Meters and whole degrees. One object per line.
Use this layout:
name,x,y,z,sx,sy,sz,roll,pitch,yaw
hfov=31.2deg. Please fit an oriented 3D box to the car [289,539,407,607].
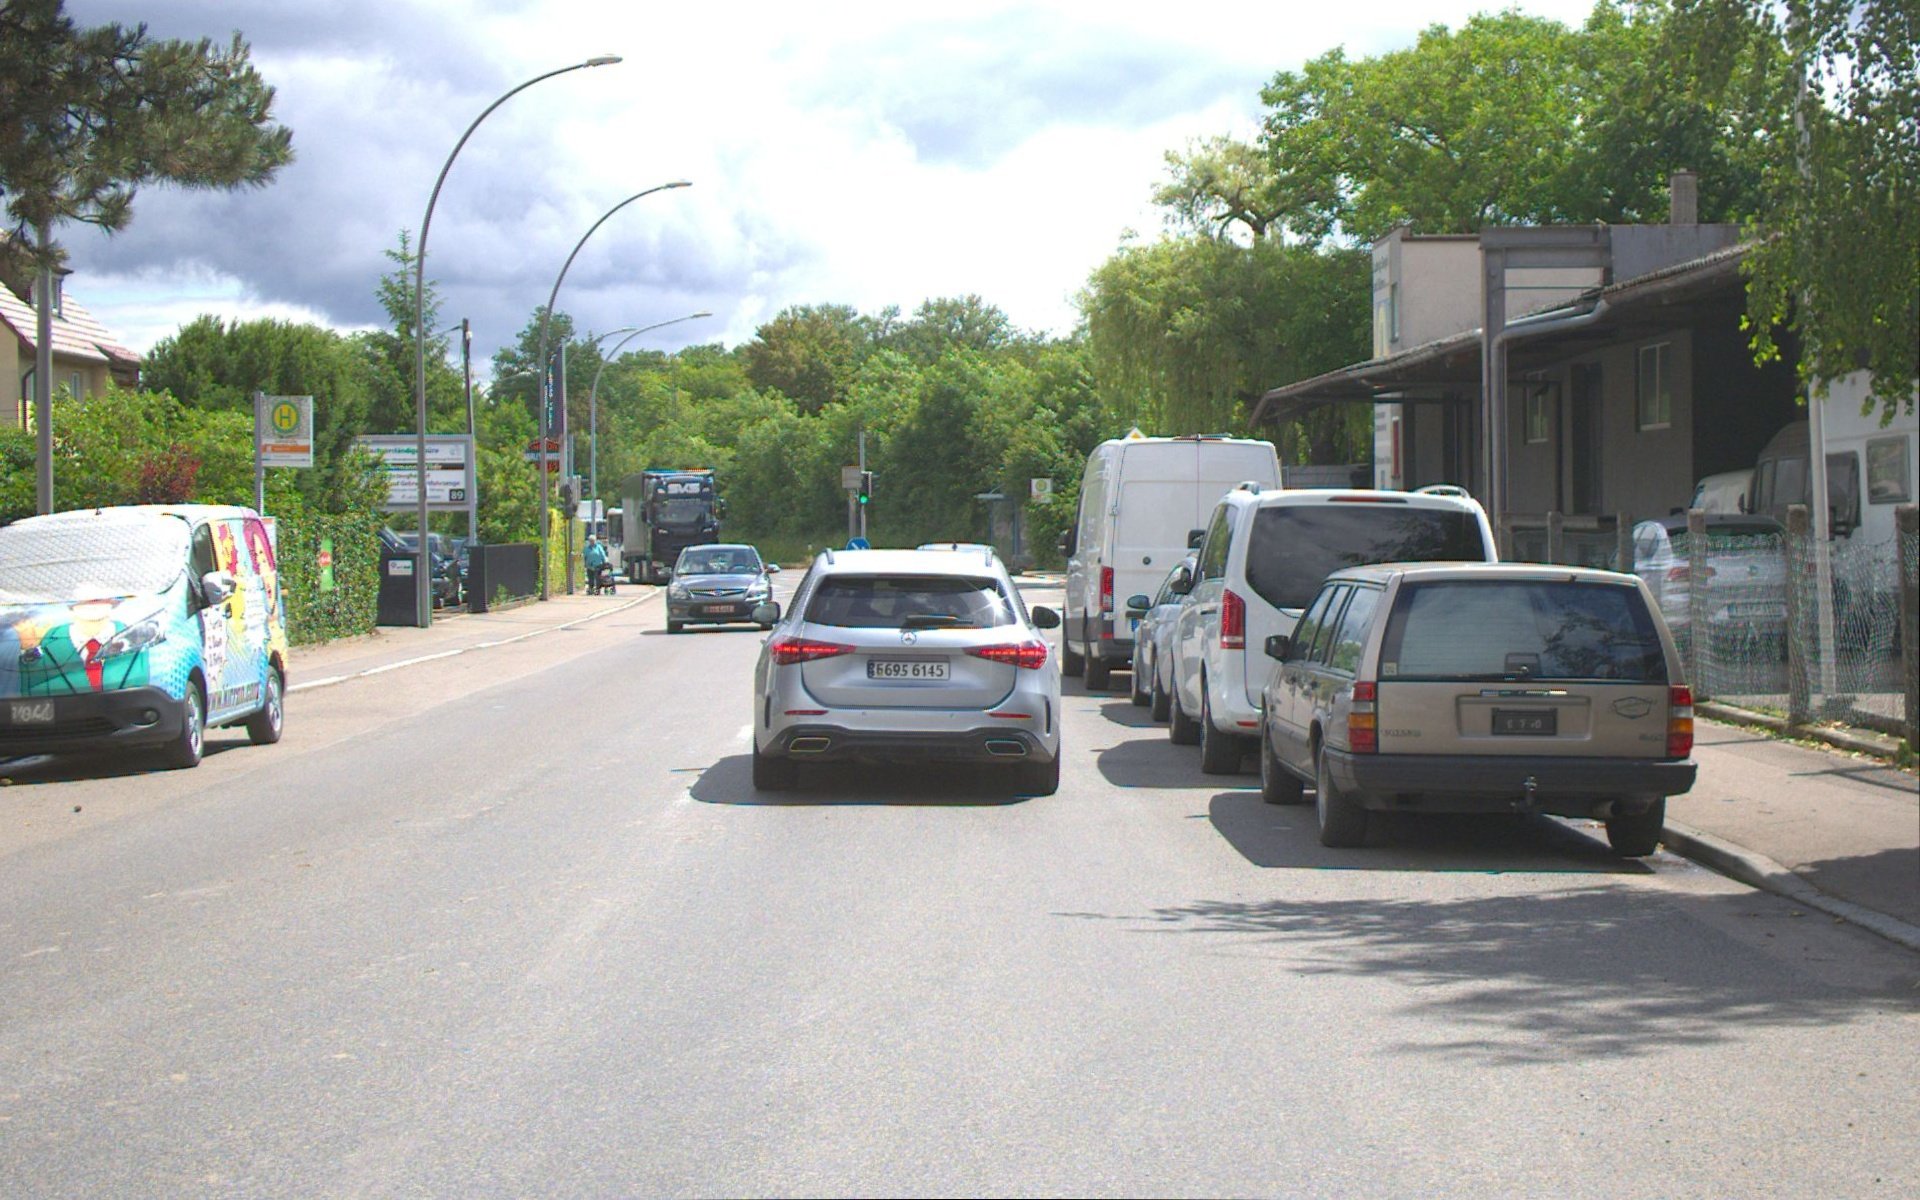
car,-14.070,-0.641,79.234,2.153,1.501,4.268,-1,1,-3

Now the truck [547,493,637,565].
truck,-18.938,-3.604,176.332,2.839,3.528,9.727,-1,1,-16

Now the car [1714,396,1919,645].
car,10.409,-0.976,39.713,2.017,2.672,5.499,-1,2,-2

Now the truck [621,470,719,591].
truck,-10.492,-2.484,123.635,2.428,4.117,9.153,1,1,-11

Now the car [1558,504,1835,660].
car,7.570,-0.241,35.799,1.764,1.484,4.927,0,2,-1

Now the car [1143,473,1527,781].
car,2.480,0.109,24.128,1.905,1.879,5.390,1,1,-2

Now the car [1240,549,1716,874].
car,2.632,0.487,18.610,1.754,1.445,4.994,2,1,0

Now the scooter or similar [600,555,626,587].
scooter or similar,-9.144,-0.773,90.618,0.611,0.829,0.659,1,1,0

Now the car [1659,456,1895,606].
car,10.987,-0.960,46.573,1.993,1.903,4.853,-1,2,-1

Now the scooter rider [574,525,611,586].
scooter rider,-9.727,-1.178,91.063,0.878,1.584,0.796,-1,1,0

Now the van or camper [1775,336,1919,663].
van or camper,10.359,-0.984,33.686,2.881,3.050,6.914,-1,1,-2

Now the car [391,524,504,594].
car,-11.650,-0.953,78.375,2.153,1.501,4.268,-1,1,-3

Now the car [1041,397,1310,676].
car,2.190,-0.685,36.949,2.215,2.680,6.658,-1,1,-2

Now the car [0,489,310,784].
car,-6.125,0.184,24.860,1.833,1.847,4.896,-4,2,0

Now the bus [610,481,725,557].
bus,-13.408,-3.609,156.361,2.777,3.255,12.127,-2,1,-16

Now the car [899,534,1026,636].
car,0.055,-0.264,53.270,1.885,1.503,4.000,0,1,1

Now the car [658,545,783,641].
car,-4.009,-0.149,58.127,1.900,1.512,4.319,-1,1,-1

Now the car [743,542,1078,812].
car,-0.288,0.401,21.372,1.884,1.503,4.000,0,1,0

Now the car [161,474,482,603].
car,-12.937,-1.249,69.970,6.037,2.488,2.477,-1,1,0
